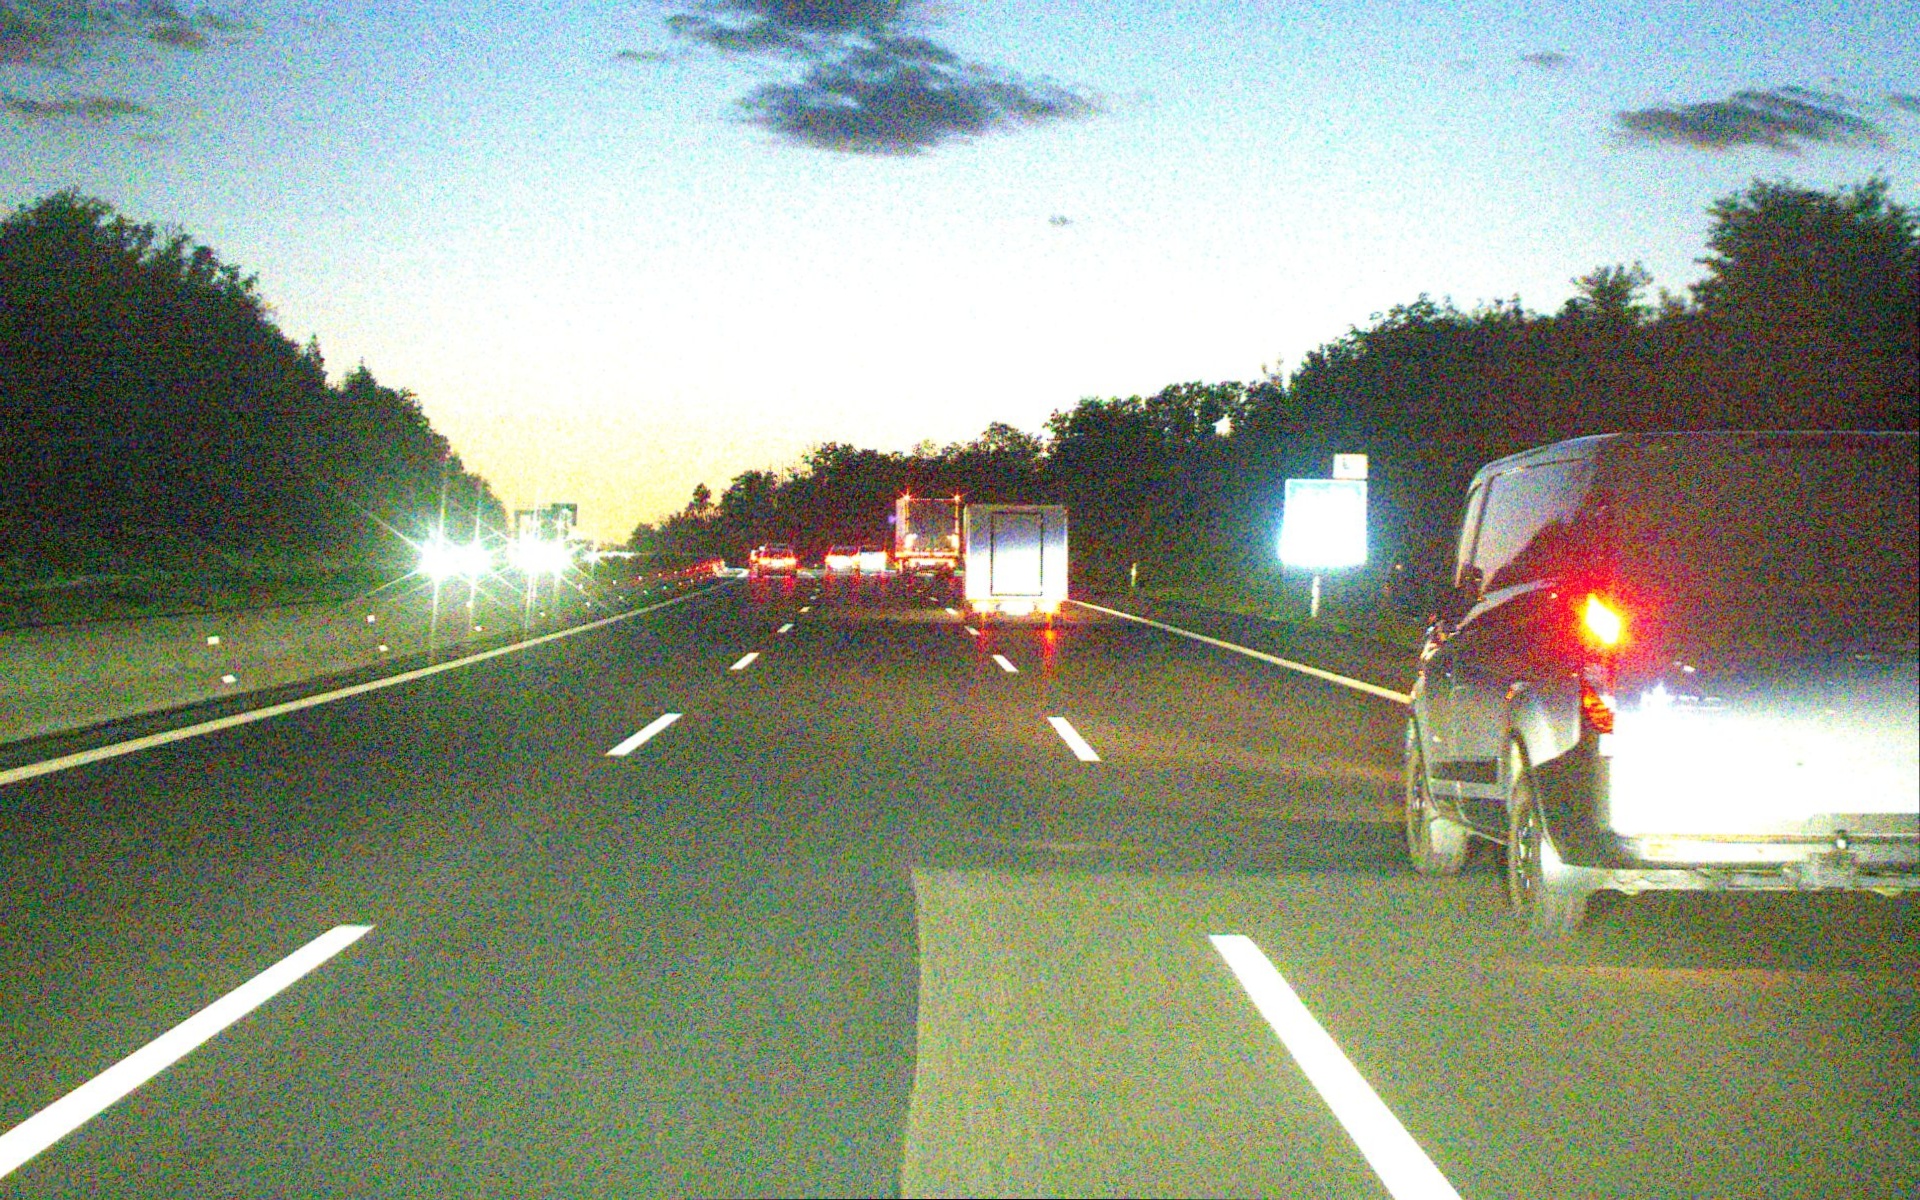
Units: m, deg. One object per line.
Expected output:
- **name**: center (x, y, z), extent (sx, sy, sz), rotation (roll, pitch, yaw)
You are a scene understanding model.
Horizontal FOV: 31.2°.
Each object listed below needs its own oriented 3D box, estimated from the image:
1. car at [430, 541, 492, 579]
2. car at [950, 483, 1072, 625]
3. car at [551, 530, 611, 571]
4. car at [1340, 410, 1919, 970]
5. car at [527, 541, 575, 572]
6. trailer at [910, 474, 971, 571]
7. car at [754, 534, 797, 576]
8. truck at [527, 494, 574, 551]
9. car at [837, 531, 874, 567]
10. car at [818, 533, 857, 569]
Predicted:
- **car**: center (-19.866, -1.610, 136.965), extent (2.010, 1.462, 4.209), rotation (1, 1, -2)
- **car**: center (0.953, -0.885, 67.384), extent (2.032, 2.638, 5.725), rotation (1, 1, -2)
- **car**: center (-15.668, -2.058, 142.218), extent (2.010, 1.664, 4.483), rotation (0, 1, -1)
- **car**: center (3.134, 0.301, 15.170), extent (2.115, 1.994, 5.664), rotation (1, 1, -2)
- **car**: center (-21.975, -2.341, 185.017), extent (2.010, 1.664, 4.949), rotation (1, 1, -1)
- **trailer**: center (-1.070, -3.788, 174.366), extent (2.829, 4.242, 17.048), rotation (1, -1, -1)
- **car**: center (-8.642, -2.094, 161.053), extent (1.993, 1.788, 4.000), rotation (1, -1, -3)
- **truck**: center (-29.117, -5.517, 244.747), extent (2.853, 3.967, 5.861), rotation (1, 1, -3)
- **car**: center (-6.591, -3.193, 216.918), extent (1.993, 2.110, 4.000), rotation (1, -1, -6)
- **car**: center (-6.474, -2.581, 181.784), extent (1.993, 1.788, 4.000), rotation (1, -1, -3)
